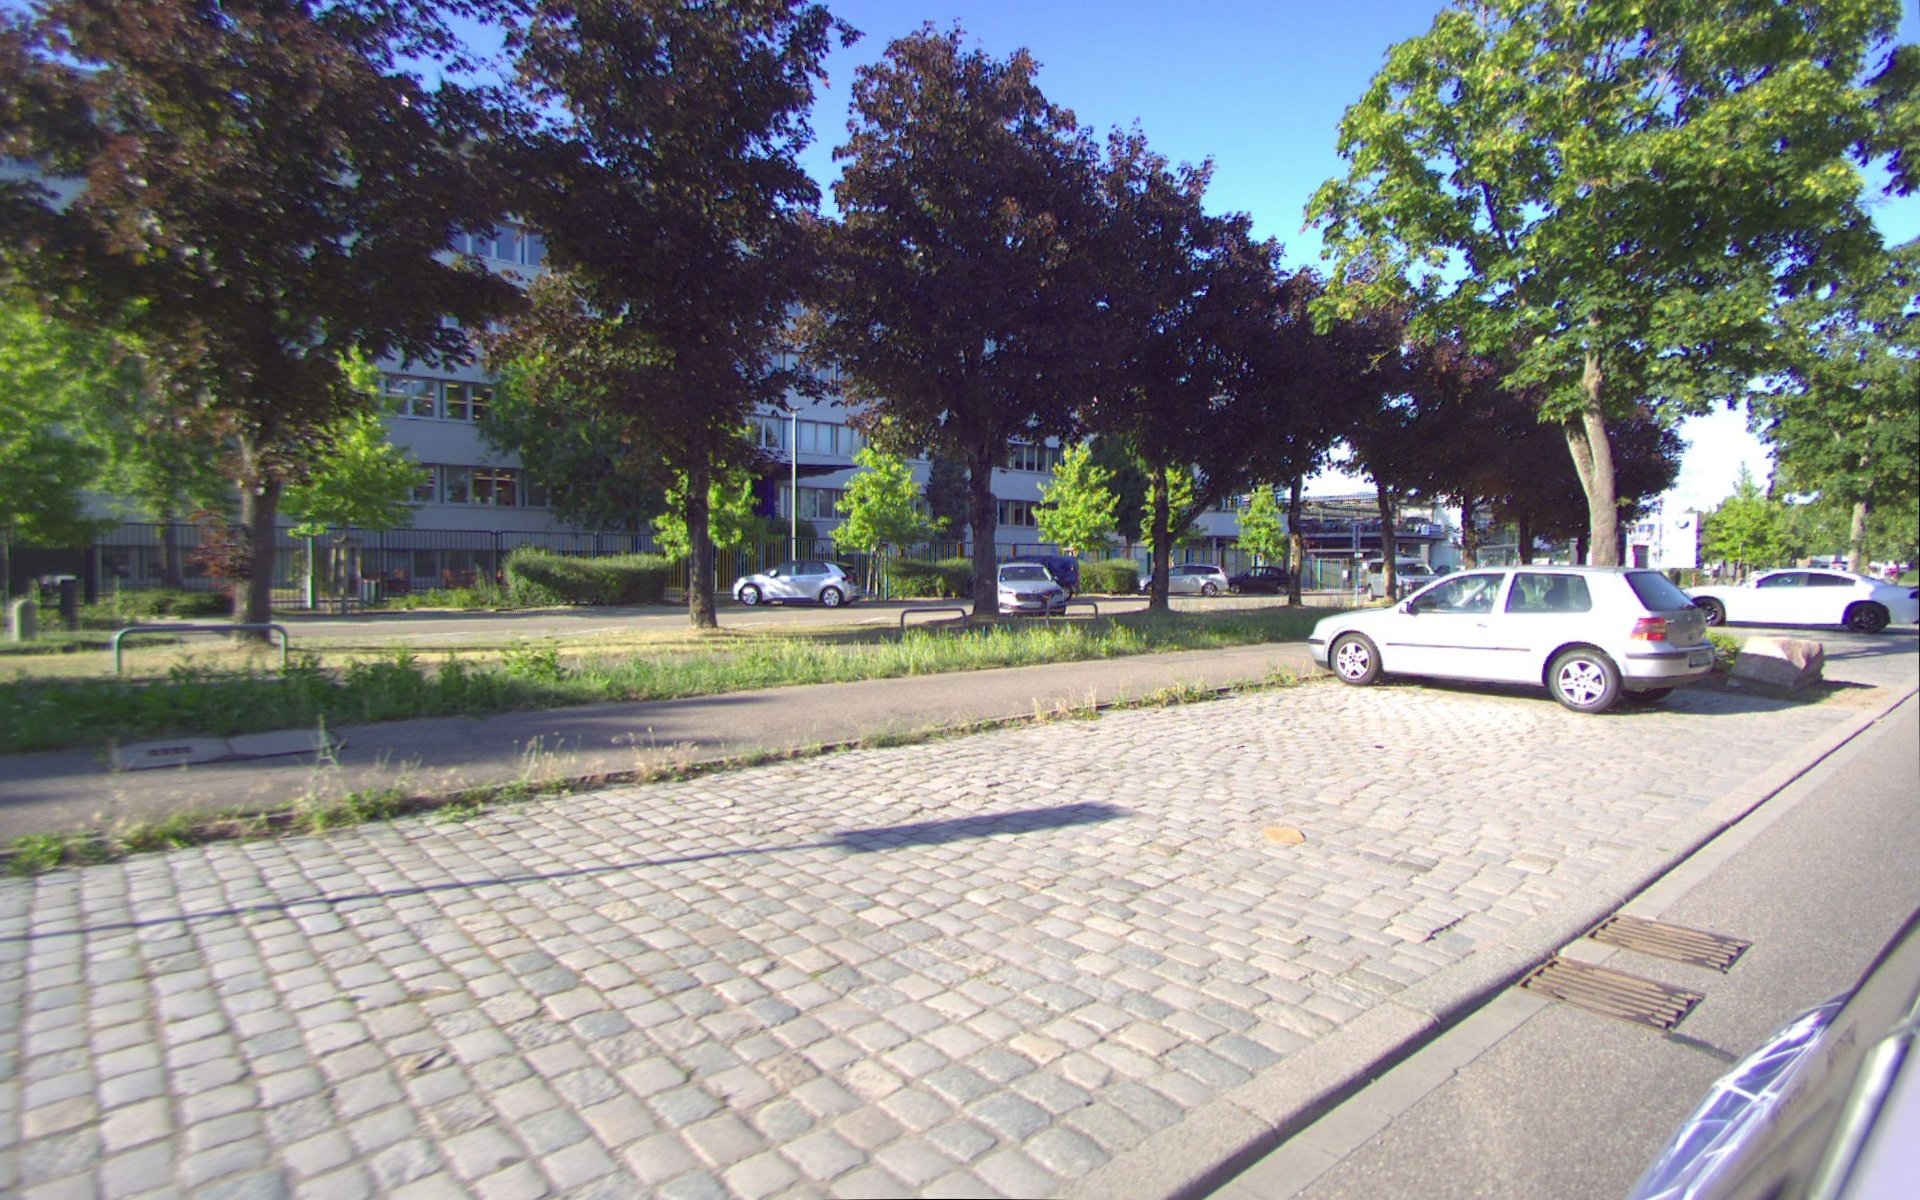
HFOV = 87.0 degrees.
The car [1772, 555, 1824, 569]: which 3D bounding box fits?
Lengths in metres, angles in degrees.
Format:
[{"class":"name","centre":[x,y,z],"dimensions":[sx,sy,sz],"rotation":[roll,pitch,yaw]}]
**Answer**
[{"class":"car","centre":[100.947,-4.580,121.963],"dimensions":[4.573,1.604,1.977],"rotation":[2,3,34]}]

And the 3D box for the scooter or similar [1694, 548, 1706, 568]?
[{"class":"scooter or similar","centre":[48.140,-2.728,65.827],"dimensions":[0.519,1.287,1.183],"rotation":[2,3,41]}]

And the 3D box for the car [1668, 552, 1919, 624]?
[{"class":"car","centre":[20.634,-0.359,24.725],"dimensions":[2.123,1.593,5.179],"rotation":[-2,3,-45]}]

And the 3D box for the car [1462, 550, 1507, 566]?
[{"class":"car","centre":[49.235,-3.960,94.978],"dimensions":[4.478,1.449,2.037],"rotation":[-2,3,-38]}]

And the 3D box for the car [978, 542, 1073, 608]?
[{"class":"car","centre":[1.645,-0.734,27.280],"dimensions":[1.961,1.593,4.960],"rotation":[0,3,-3]}]

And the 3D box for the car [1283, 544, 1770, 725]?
[{"class":"car","centre":[6.094,0.184,11.477],"dimensions":[1.961,1.496,4.378],"rotation":[-2,5,-32]}]

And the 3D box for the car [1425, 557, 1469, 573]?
[{"class":"car","centre":[46.501,-3.360,96.601],"dimensions":[4.478,1.449,2.037],"rotation":[-2,3,-38]}]

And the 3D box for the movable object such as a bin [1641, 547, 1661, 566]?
[{"class":"movable object such as a bin","centre":[55.208,-3.466,80.859],"dimensions":[1.210,1.502,1.022],"rotation":[2,3,43]}]

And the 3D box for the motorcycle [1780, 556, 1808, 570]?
[{"class":"motorcycle","centre":[93.190,-4.140,113.085],"dimensions":[2.104,1.484,0.943],"rotation":[1,2,21]}]

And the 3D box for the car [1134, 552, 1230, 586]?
[{"class":"car","centre":[10.285,-1.450,47.148],"dimensions":[4.244,1.547,1.802],"rotation":[0,3,11]}]

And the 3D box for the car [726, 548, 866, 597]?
[{"class":"car","centre":[-5.367,-0.920,33.370],"dimensions":[4.232,1.546,1.764],"rotation":[1,2,9]}]

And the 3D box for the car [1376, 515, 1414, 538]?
[{"class":"car","centre":[44.767,-7.514,104.116],"dimensions":[4.130,2.128,1.996],"rotation":[-2,1,-42]}]

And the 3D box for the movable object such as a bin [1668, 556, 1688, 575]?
[{"class":"movable object such as a bin","centre":[56.344,-2.727,79.464],"dimensions":[1.016,1.434,0.850],"rotation":[-1,1,-21]}]

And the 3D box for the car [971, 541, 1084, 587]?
[{"class":"car","centre":[2.713,-1.454,40.529],"dimensions":[4.417,1.771,1.765],"rotation":[0,2,6]}]

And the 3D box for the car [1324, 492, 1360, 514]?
[{"class":"car","centre":[40.945,-10.370,108.496],"dimensions":[4.130,2.128,1.996],"rotation":[-2,1,-42]}]

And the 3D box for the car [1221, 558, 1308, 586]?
[{"class":"car","centre":[15.487,-1.425,51.639],"dimensions":[3.931,1.370,1.805],"rotation":[0,3,7]}]

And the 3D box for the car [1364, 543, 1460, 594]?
[{"class":"car","centre":[18.434,-1.281,41.520],"dimensions":[1.964,1.957,4.950],"rotation":[0,2,4]}]
